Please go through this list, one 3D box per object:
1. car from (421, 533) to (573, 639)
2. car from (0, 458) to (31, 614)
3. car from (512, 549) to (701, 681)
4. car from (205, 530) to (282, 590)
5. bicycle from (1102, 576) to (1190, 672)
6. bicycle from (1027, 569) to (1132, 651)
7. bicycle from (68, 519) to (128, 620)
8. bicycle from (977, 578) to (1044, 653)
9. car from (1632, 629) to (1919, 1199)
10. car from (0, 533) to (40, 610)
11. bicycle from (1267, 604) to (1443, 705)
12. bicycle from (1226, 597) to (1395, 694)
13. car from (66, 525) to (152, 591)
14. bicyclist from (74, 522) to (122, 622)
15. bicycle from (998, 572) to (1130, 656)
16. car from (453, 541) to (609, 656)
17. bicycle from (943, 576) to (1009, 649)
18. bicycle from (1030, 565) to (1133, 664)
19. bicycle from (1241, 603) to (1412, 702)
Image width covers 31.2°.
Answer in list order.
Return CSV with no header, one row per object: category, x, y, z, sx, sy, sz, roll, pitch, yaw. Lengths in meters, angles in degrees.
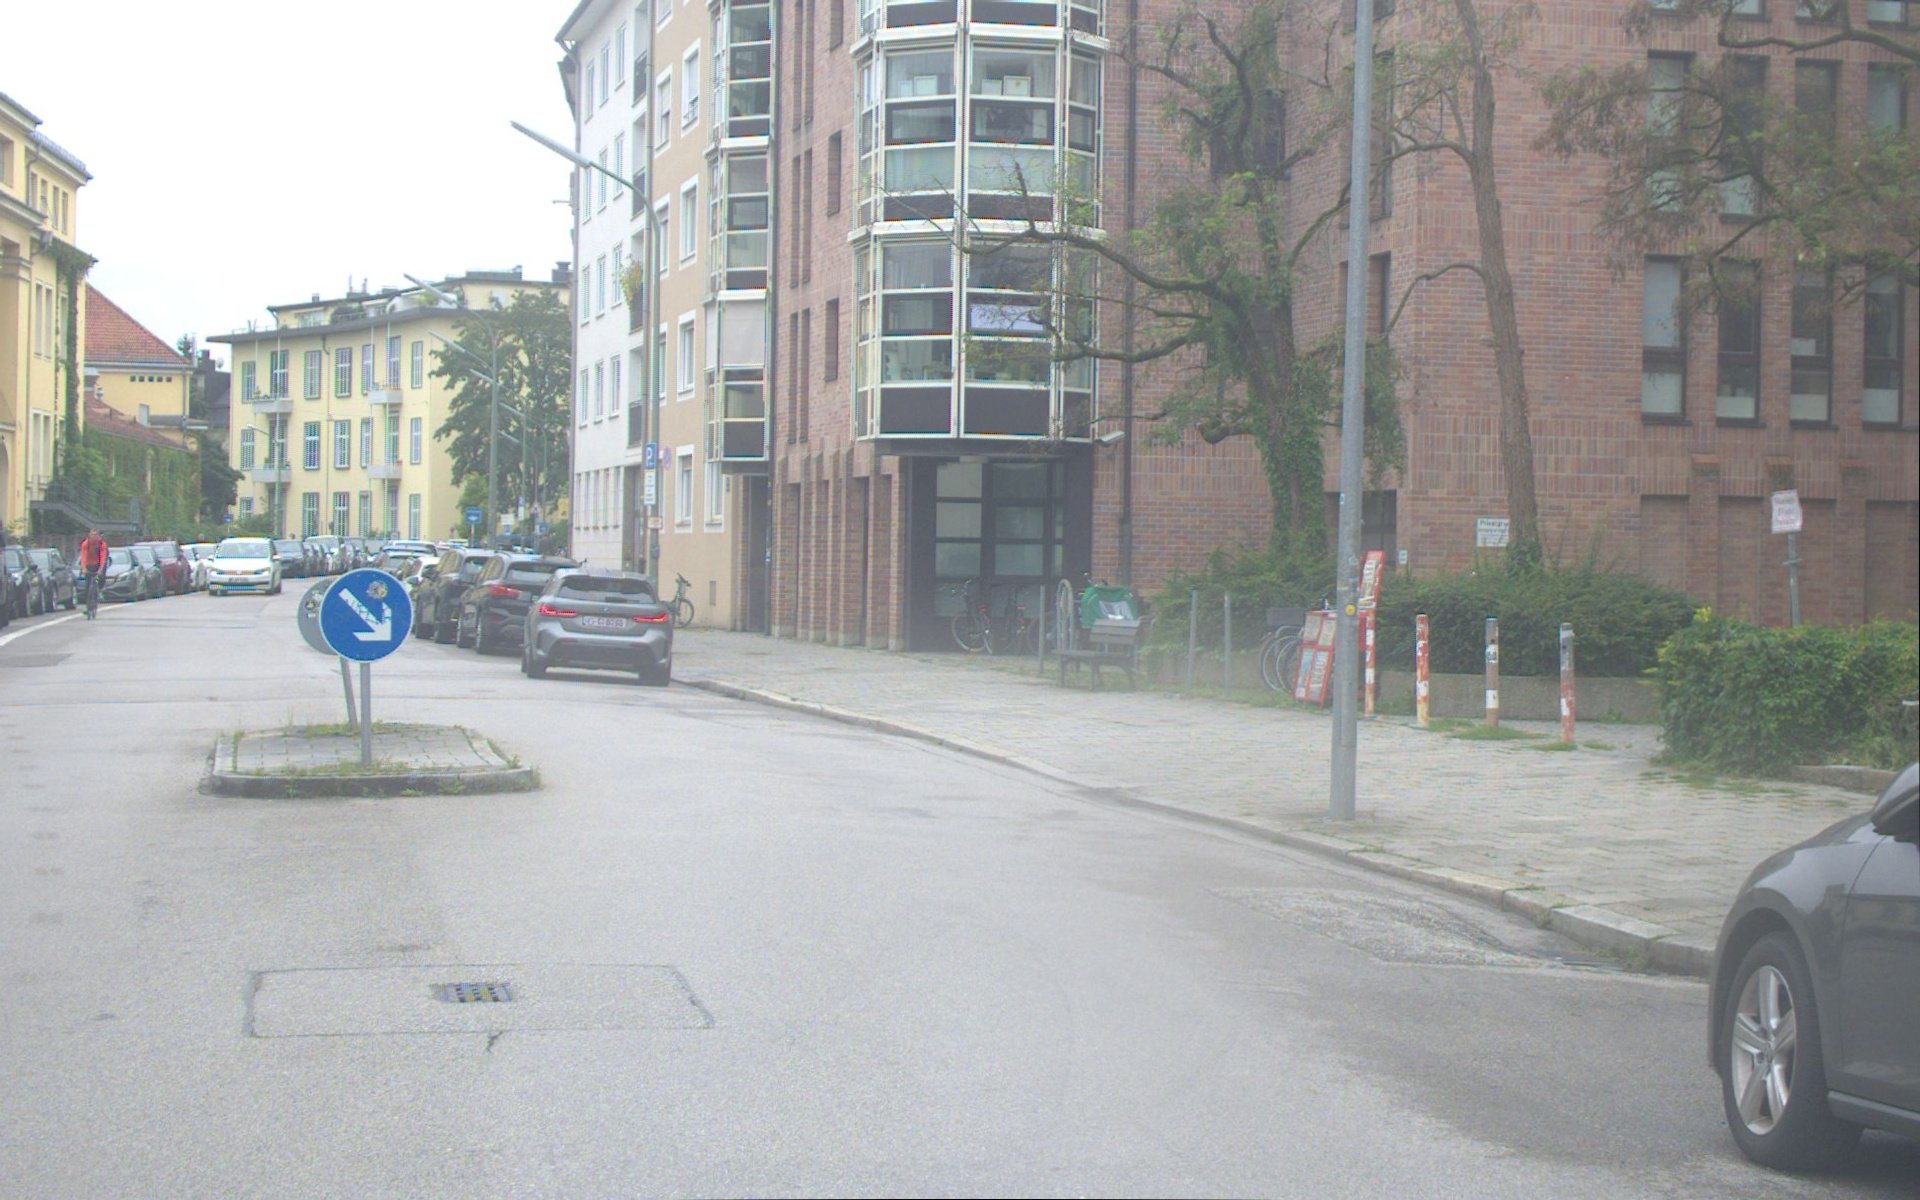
car,-8.072,-0.274,59.590,1.963,1.596,4.673,2,2,-15
car,-18.235,-1.119,62.399,2.421,2.706,5.954,0,0,-13
car,-4.608,0.155,44.315,1.924,1.507,4.393,3,1,-12
car,-20.615,-1.133,99.019,2.025,1.616,4.506,-1,0,-10
bicycle,2.351,0.299,43.372,0.421,1.169,1.359,4,2,33
bicycle,1.781,0.142,51.291,1.476,1.143,0.383,3,1,-5
bicycle,-17.715,-0.644,70.727,0.748,2.006,2.848,-1,2,-6
bicycle,0.757,0.225,52.375,0.486,1.056,1.996,2,1,-14
car,3.137,0.825,7.654,1.754,1.391,4.046,3,0,-11
car,-19.847,-0.618,70.091,1.698,1.448,3.742,3,2,-9
bicycle,4.154,0.573,36.189,1.700,0.962,0.546,3,1,-11
bicycle,3.826,0.499,37.572,1.700,0.962,0.546,3,1,-11
car,-21.926,-1.106,88.700,1.772,1.545,3.779,3,1,-9
bicyclist,-17.740,-0.585,70.743,0.766,2.006,0.768,-2,2,-6
bicycle,1.533,0.207,50.821,1.848,1.143,0.488,3,1,-5
car,-6.874,-0.057,54.789,1.829,1.596,4.268,2,2,-15
bicycle,0.240,0.182,52.227,0.486,1.056,1.996,2,0,-14
bicycle,1.573,0.177,45.015,0.534,1.244,2.414,2,-1,-17
bicycle,3.933,0.563,36.941,1.700,0.962,0.546,3,1,-11
